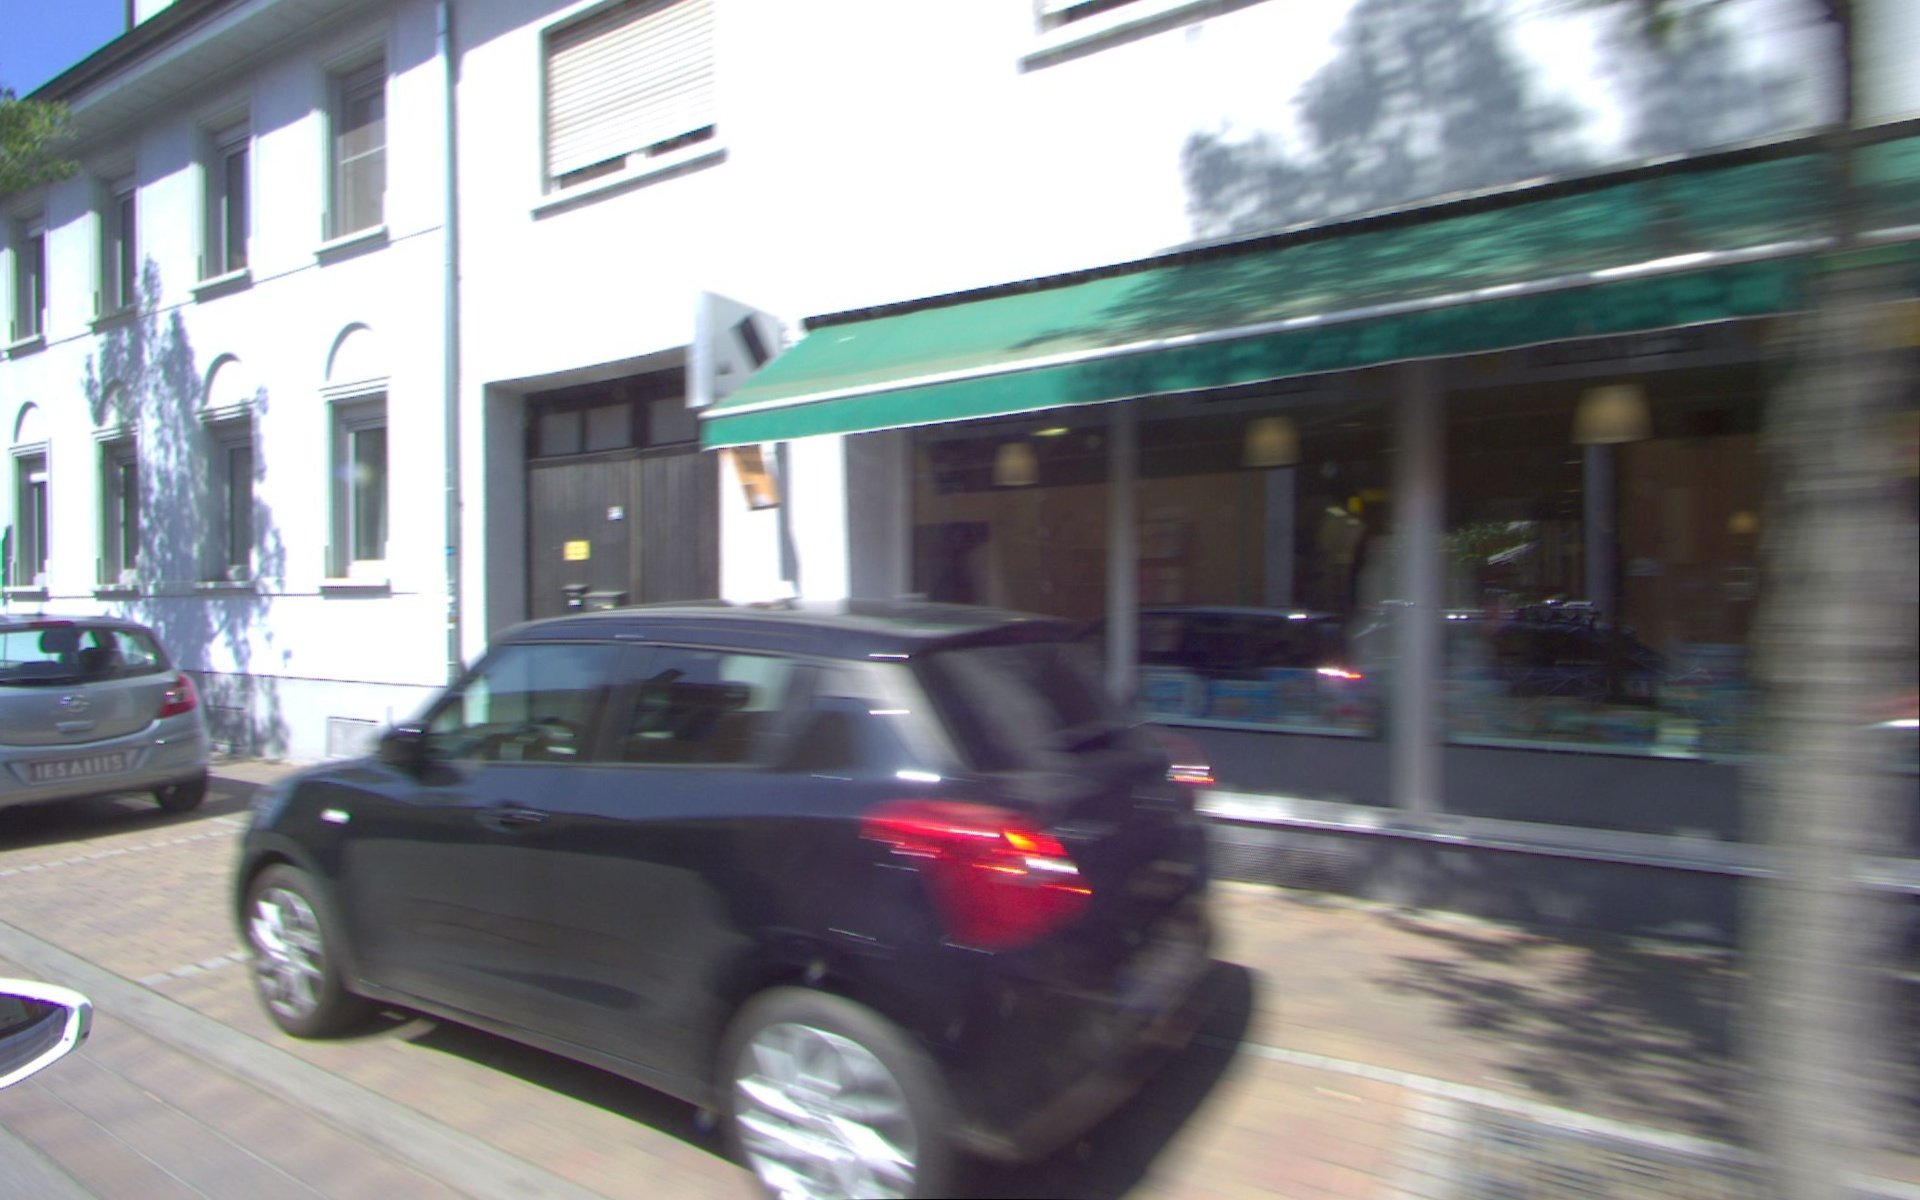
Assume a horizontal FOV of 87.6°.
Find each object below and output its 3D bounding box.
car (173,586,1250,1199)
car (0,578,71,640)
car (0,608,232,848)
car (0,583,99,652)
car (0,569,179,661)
[{"bbox_3d":[-1.024,0.729,3.662,3.680,1.534,1.733,1,1,31],"label":"car"},{"bbox_3d":[-24.491,0.295,23.875,1.809,1.461,4.531,1,4,25],"label":"car"},{"bbox_3d":[-7.490,0.825,7.726,4.038,1.500,1.714,0,-1,33],"label":"car"},{"bbox_3d":[-22.307,0.433,22.755,1.716,1.473,3.725,1,3,25],"label":"car"},{"bbox_3d":[-20.226,0.296,21.740,2.116,1.796,4.619,1,4,31],"label":"car"}]
